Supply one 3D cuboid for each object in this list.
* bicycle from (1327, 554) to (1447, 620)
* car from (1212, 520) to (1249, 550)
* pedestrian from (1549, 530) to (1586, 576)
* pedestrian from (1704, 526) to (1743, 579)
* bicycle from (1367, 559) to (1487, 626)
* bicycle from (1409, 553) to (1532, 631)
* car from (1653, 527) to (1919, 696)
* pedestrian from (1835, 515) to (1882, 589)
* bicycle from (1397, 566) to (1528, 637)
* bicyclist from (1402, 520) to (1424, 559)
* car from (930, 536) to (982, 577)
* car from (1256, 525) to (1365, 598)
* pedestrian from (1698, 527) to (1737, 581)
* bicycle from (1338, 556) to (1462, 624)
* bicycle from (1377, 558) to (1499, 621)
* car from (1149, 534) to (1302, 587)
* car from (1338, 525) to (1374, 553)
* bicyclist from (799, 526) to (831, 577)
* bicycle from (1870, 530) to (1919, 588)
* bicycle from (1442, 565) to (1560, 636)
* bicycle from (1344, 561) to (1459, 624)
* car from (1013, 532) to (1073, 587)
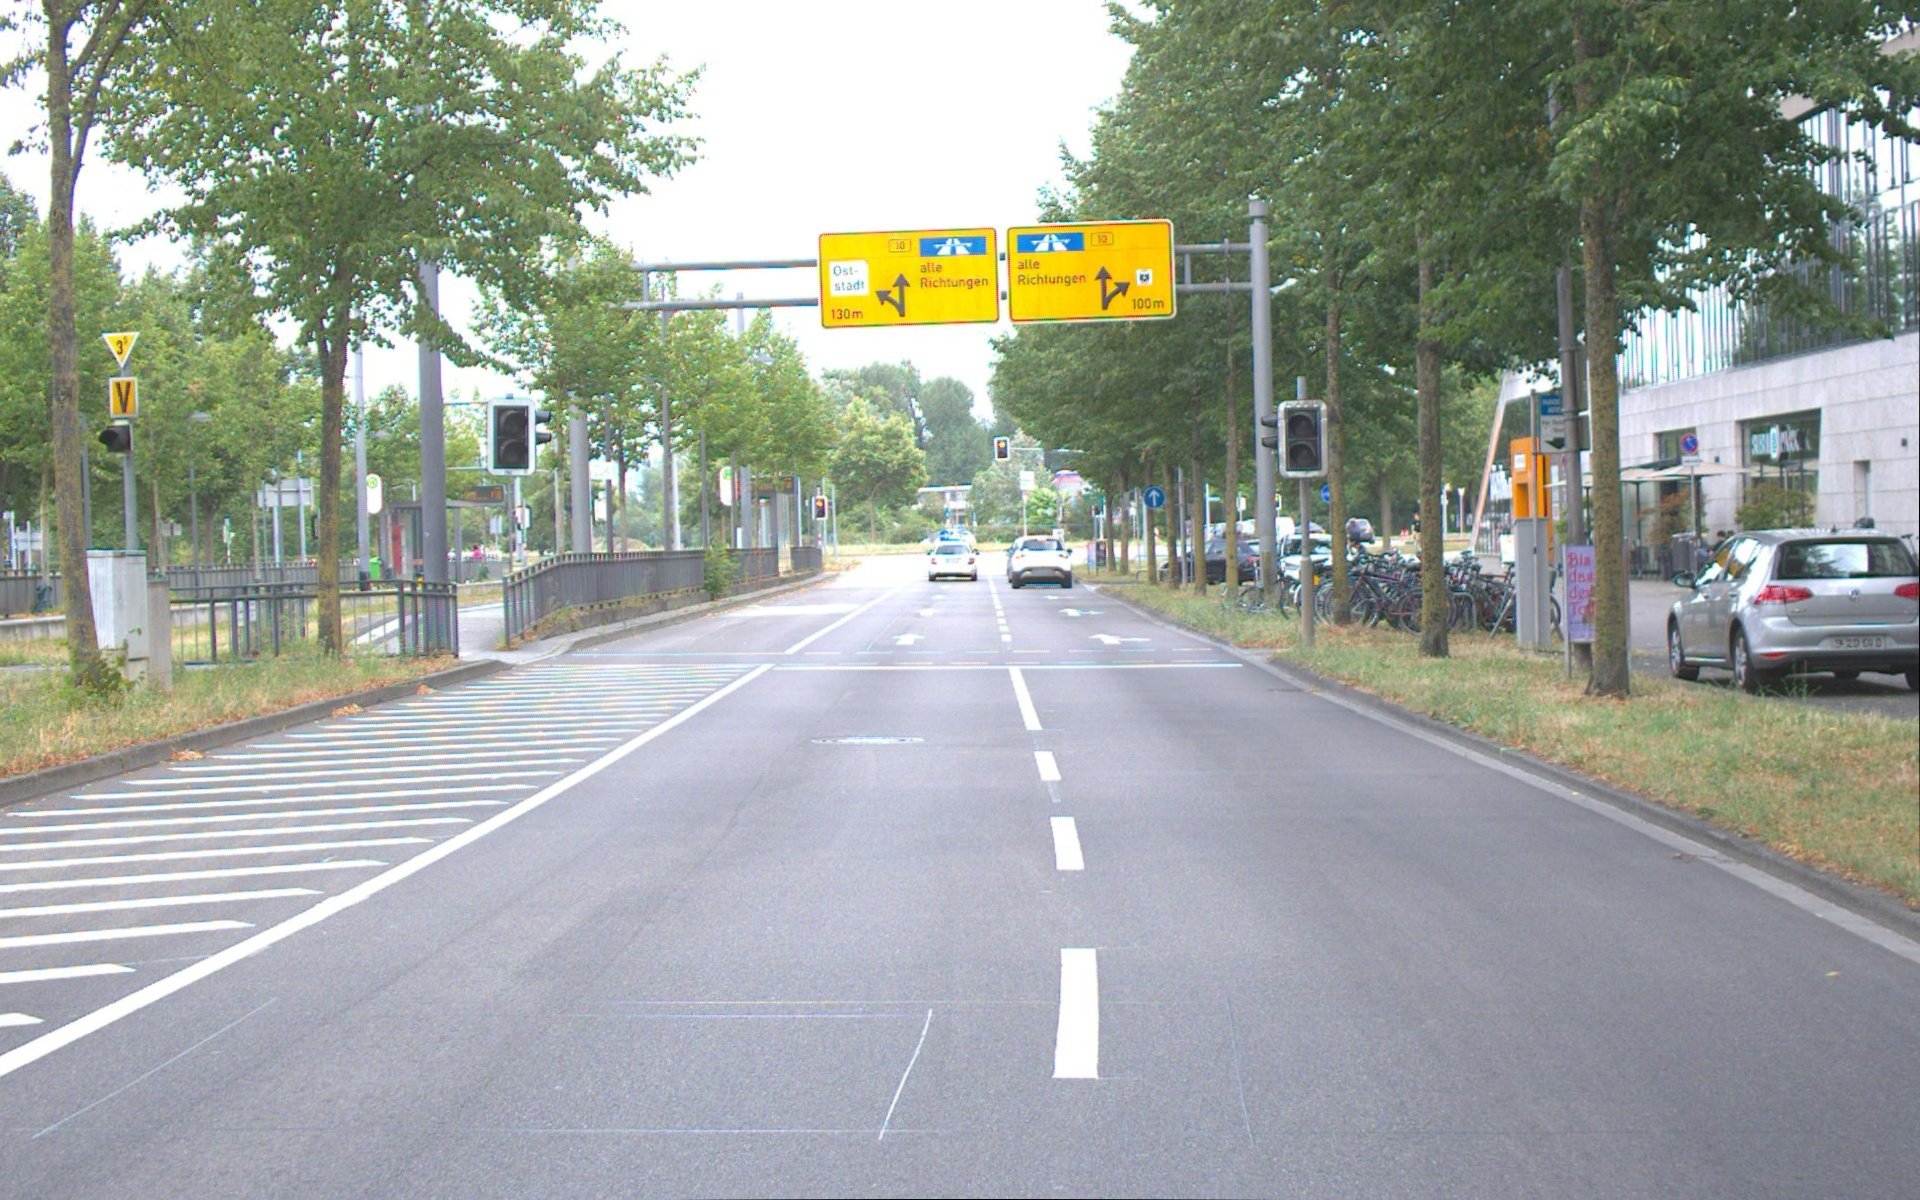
[{"bbox_3d":[7.336,-0.224,59.080,1.929,1.061,0.705,2,1,-2],"label":"bicycle"},{"bbox_3d":[16.554,-3.990,210.720,1.993,1.785,4.000,1,1,1],"label":"car"},{"bbox_3d":[16.640,-1.289,94.125,0.898,1.224,0.950,-1,1,5],"label":"pedestrian"},{"bbox_3d":[17.496,-1.080,78.744,0.719,1.188,0.758,-1,1,23],"label":"pedestrian"},{"bbox_3d":[7.246,-0.120,53.408,1.714,0.971,0.609,2,1,-8],"label":"bicycle"},{"bbox_3d":[7.309,-0.123,49.248,1.668,1.087,0.525,1,1,-3],"label":"bicycle"},{"bbox_3d":[7.623,0.059,31.371,1.760,1.416,4.183,-1,1,0],"label":"car"},{"bbox_3d":[17.322,-0.931,66.280,0.756,1.402,0.721,-1,1,8],"label":"pedestrian"},{"bbox_3d":[7.316,0.019,50.081,1.772,1.008,0.610,1,1,-8],"label":"bicycle"},{"bbox_3d":[18.694,-2.498,141.869,0.724,1.577,0.990,-1,0,1],"label":"bicyclist"},{"bbox_3d":[-0.166,-1.617,126.470,1.773,1.443,3.911,-1,1,-1],"label":"car"},{"bbox_3d":[7.899,-0.890,77.769,1.938,1.546,4.594,-1,1,0],"label":"car"},{"bbox_3d":[17.078,-1.048,77.488,0.773,1.188,1.105,-1,1,15],"label":"pedestrian"},{"bbox_3d":[7.289,-0.172,57.011,1.929,1.061,0.544,2,1,-8],"label":"bicycle"},{"bbox_3d":[7.244,-0.164,52.113,1.714,0.903,0.589,2,1,-8],"label":"bicycle"},{"bbox_3d":[7.977,-1.181,103.787,1.941,1.470,4.870,-2,1,-34],"label":"car"},{"bbox_3d":[23.615,-3.647,204.863,1.784,1.630,4.400,-1,1,10],"label":"car"},{"bbox_3d":[-5.935,-1.996,141.174,0.732,1.880,0.730,19,-18,-30],"label":"bicyclist"},{"bbox_3d":[17.421,-0.758,62.653,1.597,1.023,0.611,-3,1,-27],"label":"bicycle"},{"bbox_3d":[7.506,-0.001,47.741,1.529,0.950,0.552,1,1,-3],"label":"bicycle"},{"bbox_3d":[7.228,-0.122,56.366,1.743,0.971,0.609,2,1,-8],"label":"bicycle"},{"bbox_3d":[2.578,-1.273,107.054,1.779,1.651,4.023,-2,1,1],"label":"car"}]
